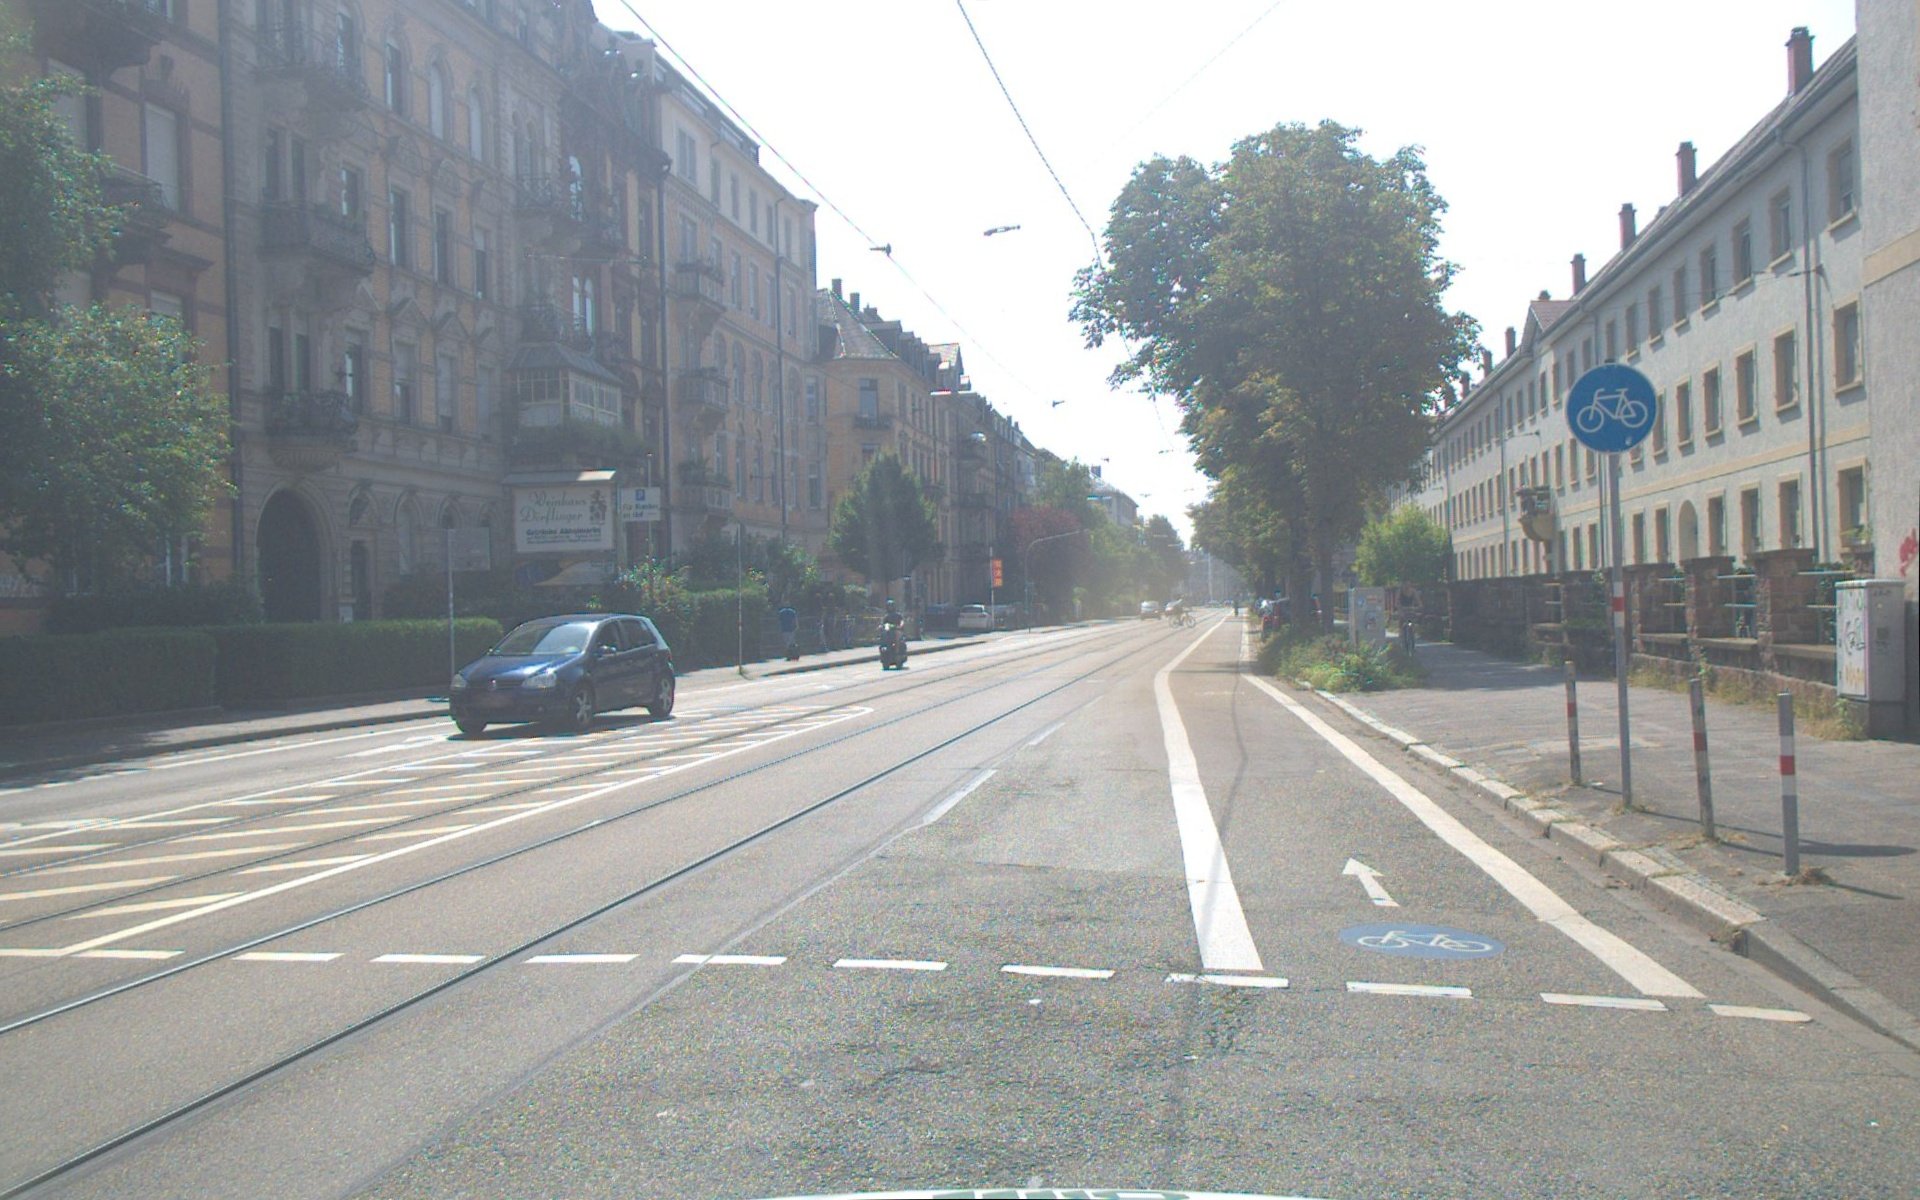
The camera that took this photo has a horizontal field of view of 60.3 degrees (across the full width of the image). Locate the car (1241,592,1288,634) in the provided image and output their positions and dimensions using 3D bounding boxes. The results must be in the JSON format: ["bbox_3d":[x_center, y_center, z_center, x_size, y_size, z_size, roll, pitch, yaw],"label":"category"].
[{"bbox_3d":[12.660,0.541,68.797,1.718,1.502,4.461,-6,-1,10],"label":"car"}]

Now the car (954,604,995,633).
[{"bbox_3d":[0.873,1.077,97.022,1.951,1.622,4.362,-2,-1,6],"label":"car"}]

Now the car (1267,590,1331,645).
[{"bbox_3d":[10.392,0.504,50.551,1.583,1.557,3.501,-3,-1,16],"label":"car"}]

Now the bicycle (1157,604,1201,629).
[{"bbox_3d":[12.292,0.938,92.872,1.130,1.291,2.697,-2,-1,41],"label":"bicycle"}]

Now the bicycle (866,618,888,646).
[{"bbox_3d":[-3.217,1.230,64.130,0.381,1.056,1.835,-2,0,11],"label":"bicycle"}]

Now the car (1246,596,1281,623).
[{"bbox_3d":[17.747,0.532,96.812,1.852,1.503,4.844,-2,0,9],"label":"car"}]

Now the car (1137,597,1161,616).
[{"bbox_3d":[16.451,0.554,143.894,1.788,1.567,4.003,-2,0,9],"label":"car"}]

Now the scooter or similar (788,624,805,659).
[{"bbox_3d":[-4.725,1.207,47.845,0.391,0.999,0.585,0,-1,2],"label":"scooter or similar"}]

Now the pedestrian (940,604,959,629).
[{"bbox_3d":[-0.669,1.033,103.956,0.871,1.537,0.864,-2,-1,-21],"label":"pedestrian"}]

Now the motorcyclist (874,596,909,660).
[{"bbox_3d":[-1.685,0.677,40.798,0.674,1.538,0.773,-2,-1,11],"label":"motorcyclist"}]

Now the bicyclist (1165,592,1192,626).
[{"bbox_3d":[12.254,0.511,92.856,1.109,1.869,0.949,-3,-2,43],"label":"bicyclist"}]

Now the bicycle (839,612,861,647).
[{"bbox_3d":[-3.892,1.033,58.474,0.381,1.168,1.583,-2,0,11],"label":"bicycle"}]

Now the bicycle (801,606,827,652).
[{"bbox_3d":[-4.750,0.932,53.816,0.381,1.430,1.583,-2,0,11],"label":"bicycle"}]

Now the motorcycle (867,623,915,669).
[{"bbox_3d":[-1.680,1.119,40.744,0.676,1.049,2.159,-2,0,11],"label":"motorcycle"}]

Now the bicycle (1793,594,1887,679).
[{"bbox_3d":[11.604,0.461,21.856,0.431,1.065,1.830,-2,0,7],"label":"bicycle"}]

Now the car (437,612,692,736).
[{"bbox_3d":[-5.261,0.935,22.597,1.690,1.458,4.180,-1,0,13],"label":"car"}]

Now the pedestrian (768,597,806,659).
[{"bbox_3d":[-5.071,0.808,48.482,0.864,1.786,0.871,-2,-1,10],"label":"pedestrian"}]

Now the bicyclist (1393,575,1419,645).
[{"bbox_3d":[9.912,0.230,36.774,0.428,1.538,0.472,-2,-1,7],"label":"bicyclist"}]

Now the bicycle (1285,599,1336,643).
[{"bbox_3d":[9.447,0.567,44.621,1.371,1.128,0.386,-2,-1,-26],"label":"bicycle"}]

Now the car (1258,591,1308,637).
[{"bbox_3d":[11.373,0.473,58.334,1.582,1.503,4.042,-3,-1,10],"label":"car"}]

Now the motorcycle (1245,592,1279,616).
[{"bbox_3d":[21.929,0.279,120.159,0.959,1.567,2.314,-1,-3,-38],"label":"motorcycle"}]

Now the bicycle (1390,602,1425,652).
[{"bbox_3d":[9.908,0.587,36.654,0.431,1.065,1.830,-2,0,7],"label":"bicycle"}]
